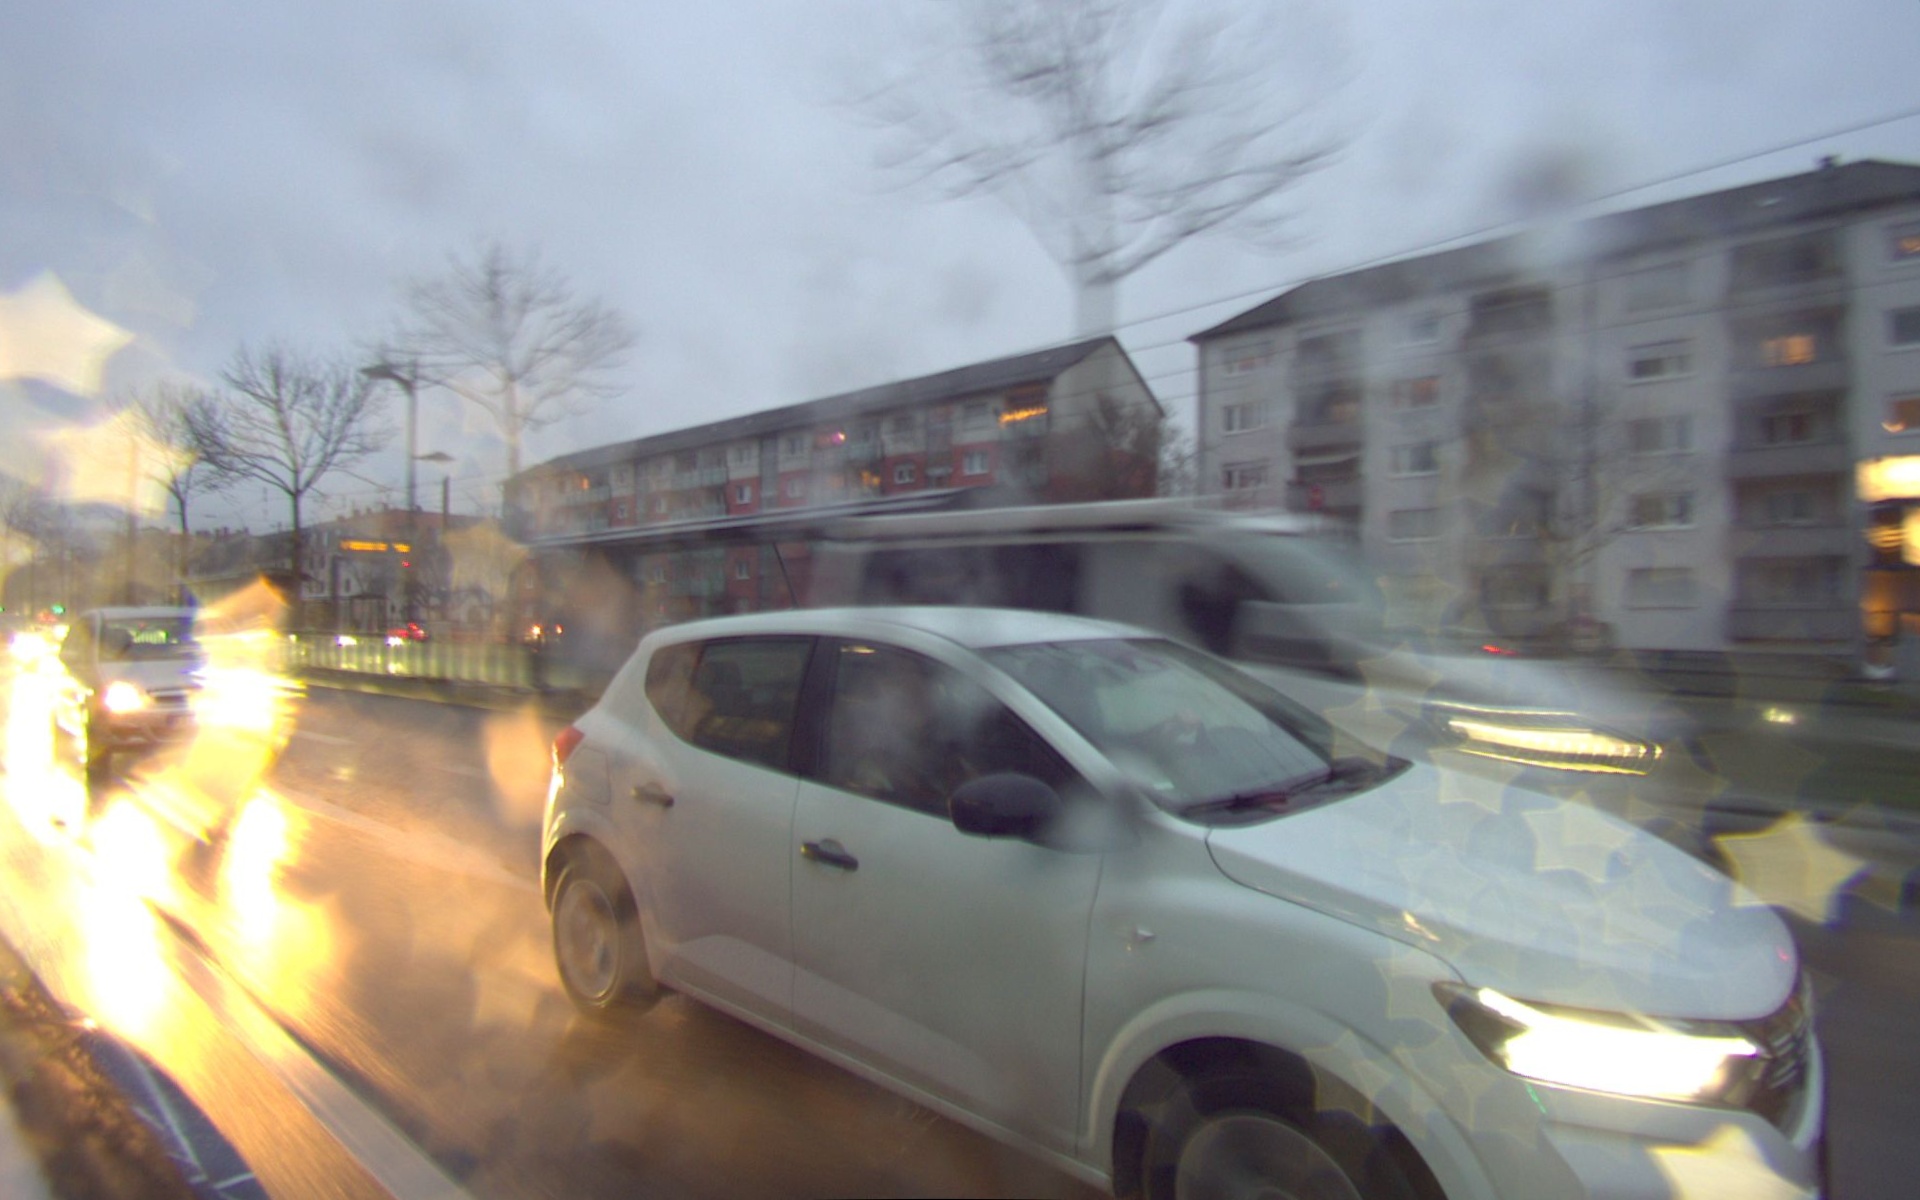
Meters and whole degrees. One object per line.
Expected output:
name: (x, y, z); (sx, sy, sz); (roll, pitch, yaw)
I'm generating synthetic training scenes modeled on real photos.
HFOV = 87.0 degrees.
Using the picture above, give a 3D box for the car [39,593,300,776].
car: (-9.100, 0.782, 11.523); (1.992, 1.690, 4.004); (0, 0, -43)

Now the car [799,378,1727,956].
car: (1.358, 0.277, 5.953); (4.881, 2.049, 1.932); (-1, -2, 42)

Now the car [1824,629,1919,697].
car: (21.483, 1.418, 23.642); (1.695, 1.377, 3.764); (0, 0, 36)

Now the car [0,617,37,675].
car: (-27.042, 1.259, 27.824); (4.088, 1.513, 1.950); (-1, -1, 40)

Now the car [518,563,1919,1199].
car: (0.420, 0.690, 3.078); (3.998, 1.477, 1.690); (0, 0, 41)

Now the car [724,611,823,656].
car: (-6.835, 1.178, 36.981); (3.761, 1.508, 1.739); (0, 0, 45)

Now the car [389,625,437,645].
car: (-39.884, 2.512, 73.744); (4.214, 1.302, 1.760); (0, 0, 43)

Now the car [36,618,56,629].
car: (-135.824, 3.483, 150.362); (3.743, 1.651, 1.509); (0, -1, 37)

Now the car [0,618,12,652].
car: (-49.518, 1.773, 51.393); (3.753, 1.669, 1.688); (0, 0, 42)

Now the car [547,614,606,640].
car: (-24.466, 1.694, 64.528); (4.147, 1.555, 1.707); (0, 0, 39)
